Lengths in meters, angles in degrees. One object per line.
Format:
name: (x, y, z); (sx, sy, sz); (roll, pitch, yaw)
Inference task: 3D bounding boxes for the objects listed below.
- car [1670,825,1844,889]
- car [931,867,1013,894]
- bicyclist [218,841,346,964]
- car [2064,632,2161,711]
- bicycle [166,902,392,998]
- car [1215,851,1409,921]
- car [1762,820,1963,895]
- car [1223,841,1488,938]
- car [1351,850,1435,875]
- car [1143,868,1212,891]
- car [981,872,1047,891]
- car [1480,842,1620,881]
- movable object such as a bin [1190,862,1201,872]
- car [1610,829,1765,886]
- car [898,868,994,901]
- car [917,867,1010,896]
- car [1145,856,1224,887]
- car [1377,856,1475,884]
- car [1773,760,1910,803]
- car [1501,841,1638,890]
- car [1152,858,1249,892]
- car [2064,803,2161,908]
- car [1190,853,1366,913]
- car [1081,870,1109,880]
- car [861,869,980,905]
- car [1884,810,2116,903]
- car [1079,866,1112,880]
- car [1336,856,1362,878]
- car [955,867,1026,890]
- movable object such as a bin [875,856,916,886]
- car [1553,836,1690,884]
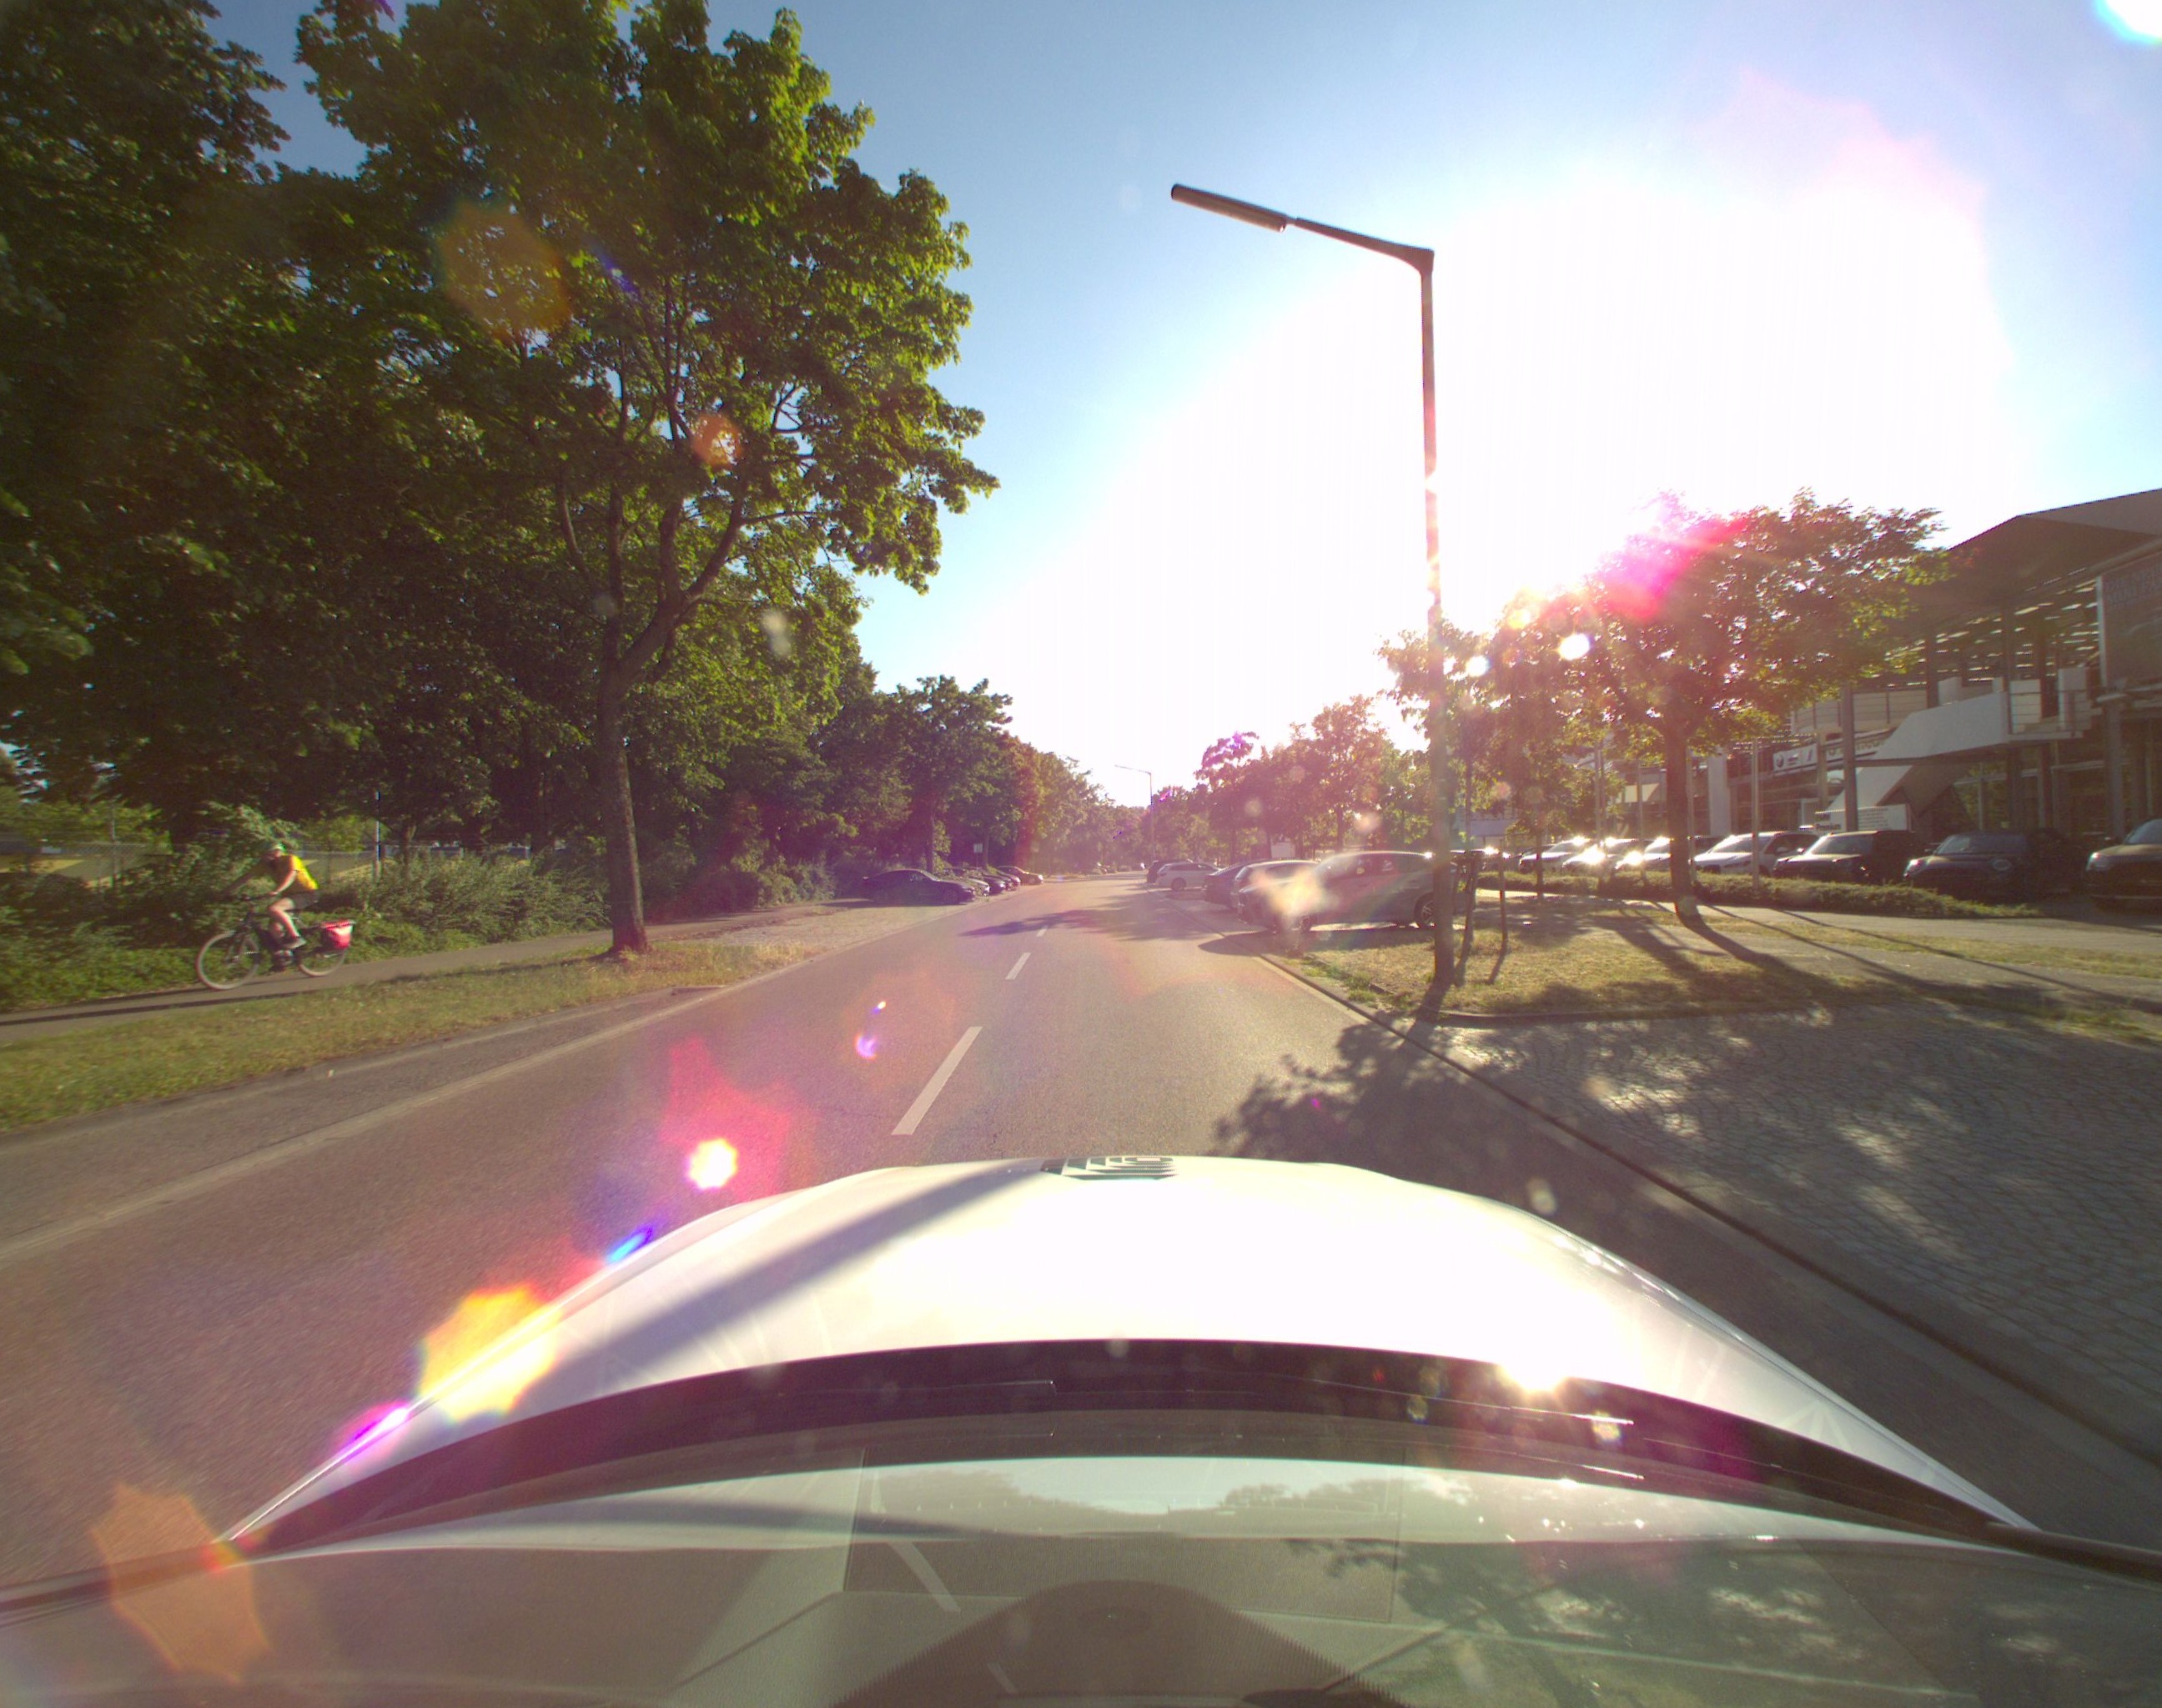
car: (19.189, 0.091, 23.119); (4.613, 1.574, 1.983); (-2, -1, -25)
car: (-6.351, 1.551, 47.740); (4.463, 1.531, 2.001); (0, -1, 1)
bicyclist: (-10.520, 0.618, 10.757); (0.728, 1.530, 0.951); (-2, -1, 2)
car: (28.861, -4.766, 21.164); (3.958, 1.666, 1.794); (1, 0, 15)
bicycle: (-10.529, 1.211, 10.844); (0.763, 1.039, 2.218); (-2, -1, 2)
car: (5.789, 0.794, 20.832); (4.360, 1.479, 2.000); (-3, -1, 1)
car: (19.169, 0.081, 19.961); (4.613, 1.574, 1.983); (-2, -1, -25)
car: (5.357, 0.687, 16.344); (4.578, 1.584, 1.999); (-3, -1, -2)
car: (20.434, 0.558, 53.501); (4.729, 1.464, 2.012); (-3, -2, 43)
car: (6.548, 1.741, 55.721); (4.465, 1.404, 2.034); (-1, -1, 1)
car: (-5.334, 2.169, 65.136); (5.016, 1.462, 2.001); (0, -1, 1)
car: (21.295, 0.377, 37.154); (2.011, 1.571, 5.128); (-1, -2, -43)
movable object such as a bin: (35.087, 3.979, 249.298); (2.819, 3.069, 4.942); (1, -1, 12)
car: (19.326, 0.094, 25.931); (4.613, 1.574, 1.983); (-2, -1, -25)
car: (-6.538, 1.450, 39.818); (4.269, 1.531, 2.001); (0, -1, 2)
car: (-6.455, 1.485, 45.024); (4.836, 1.531, 1.999); (1, -1, -2)
car: (6.315, 1.071, 49.802); (4.671, 1.751, 2.195); (-1, -1, 6)
car: (19.755, 0.923, 46.830); (2.011, 1.464, 4.731); (-1, -2, -43)
car: (32.565, -3.070, 35.001); (3.958, 1.666, 1.794); (1, 0, 14)
car: (19.423, 0.455, 32.373); (4.737, 1.690, 2.391); (-2, -1, -25)
car: (6.117, 1.093, 42.157); (4.678, 1.479, 2.000); (-3, -1, 1)
car: (19.204, -0.064, 13.851); (4.612, 1.666, 1.984); (-2, -1, -25)
car: (5.606, 0.821, 23.672); (4.608, 1.456, 2.000); (-3, -1, 1)
car: (2.175, 3.217, 126.022); (4.187, 1.530, 1.710); (-1, -1, 9)
car: (-6.694, 1.361, 34.349); (4.635, 1.422, 1.916); (1, -1, -1)
car: (19.350, 0.029, 17.135); (4.613, 1.666, 1.983); (-2, -1, -25)
car: (2.383, 3.044, 129.882); (4.975, 2.020, 2.180); (-1, -1, 9)
car: (23.506, 1.114, 71.537); (2.015, 1.828, 4.999); (-2, -1, 18)
car: (-6.116, 1.646, 55.419); (4.463, 1.462, 2.001); (0, -1, 1)
movable object such as a bin: (-17.193, 1.586, 75.284); (2.173, 2.665, 4.753); (-1, -1, -33)
car: (19.446, 0.195, 29.311); (4.613, 1.574, 1.983); (-1, -1, -25)
